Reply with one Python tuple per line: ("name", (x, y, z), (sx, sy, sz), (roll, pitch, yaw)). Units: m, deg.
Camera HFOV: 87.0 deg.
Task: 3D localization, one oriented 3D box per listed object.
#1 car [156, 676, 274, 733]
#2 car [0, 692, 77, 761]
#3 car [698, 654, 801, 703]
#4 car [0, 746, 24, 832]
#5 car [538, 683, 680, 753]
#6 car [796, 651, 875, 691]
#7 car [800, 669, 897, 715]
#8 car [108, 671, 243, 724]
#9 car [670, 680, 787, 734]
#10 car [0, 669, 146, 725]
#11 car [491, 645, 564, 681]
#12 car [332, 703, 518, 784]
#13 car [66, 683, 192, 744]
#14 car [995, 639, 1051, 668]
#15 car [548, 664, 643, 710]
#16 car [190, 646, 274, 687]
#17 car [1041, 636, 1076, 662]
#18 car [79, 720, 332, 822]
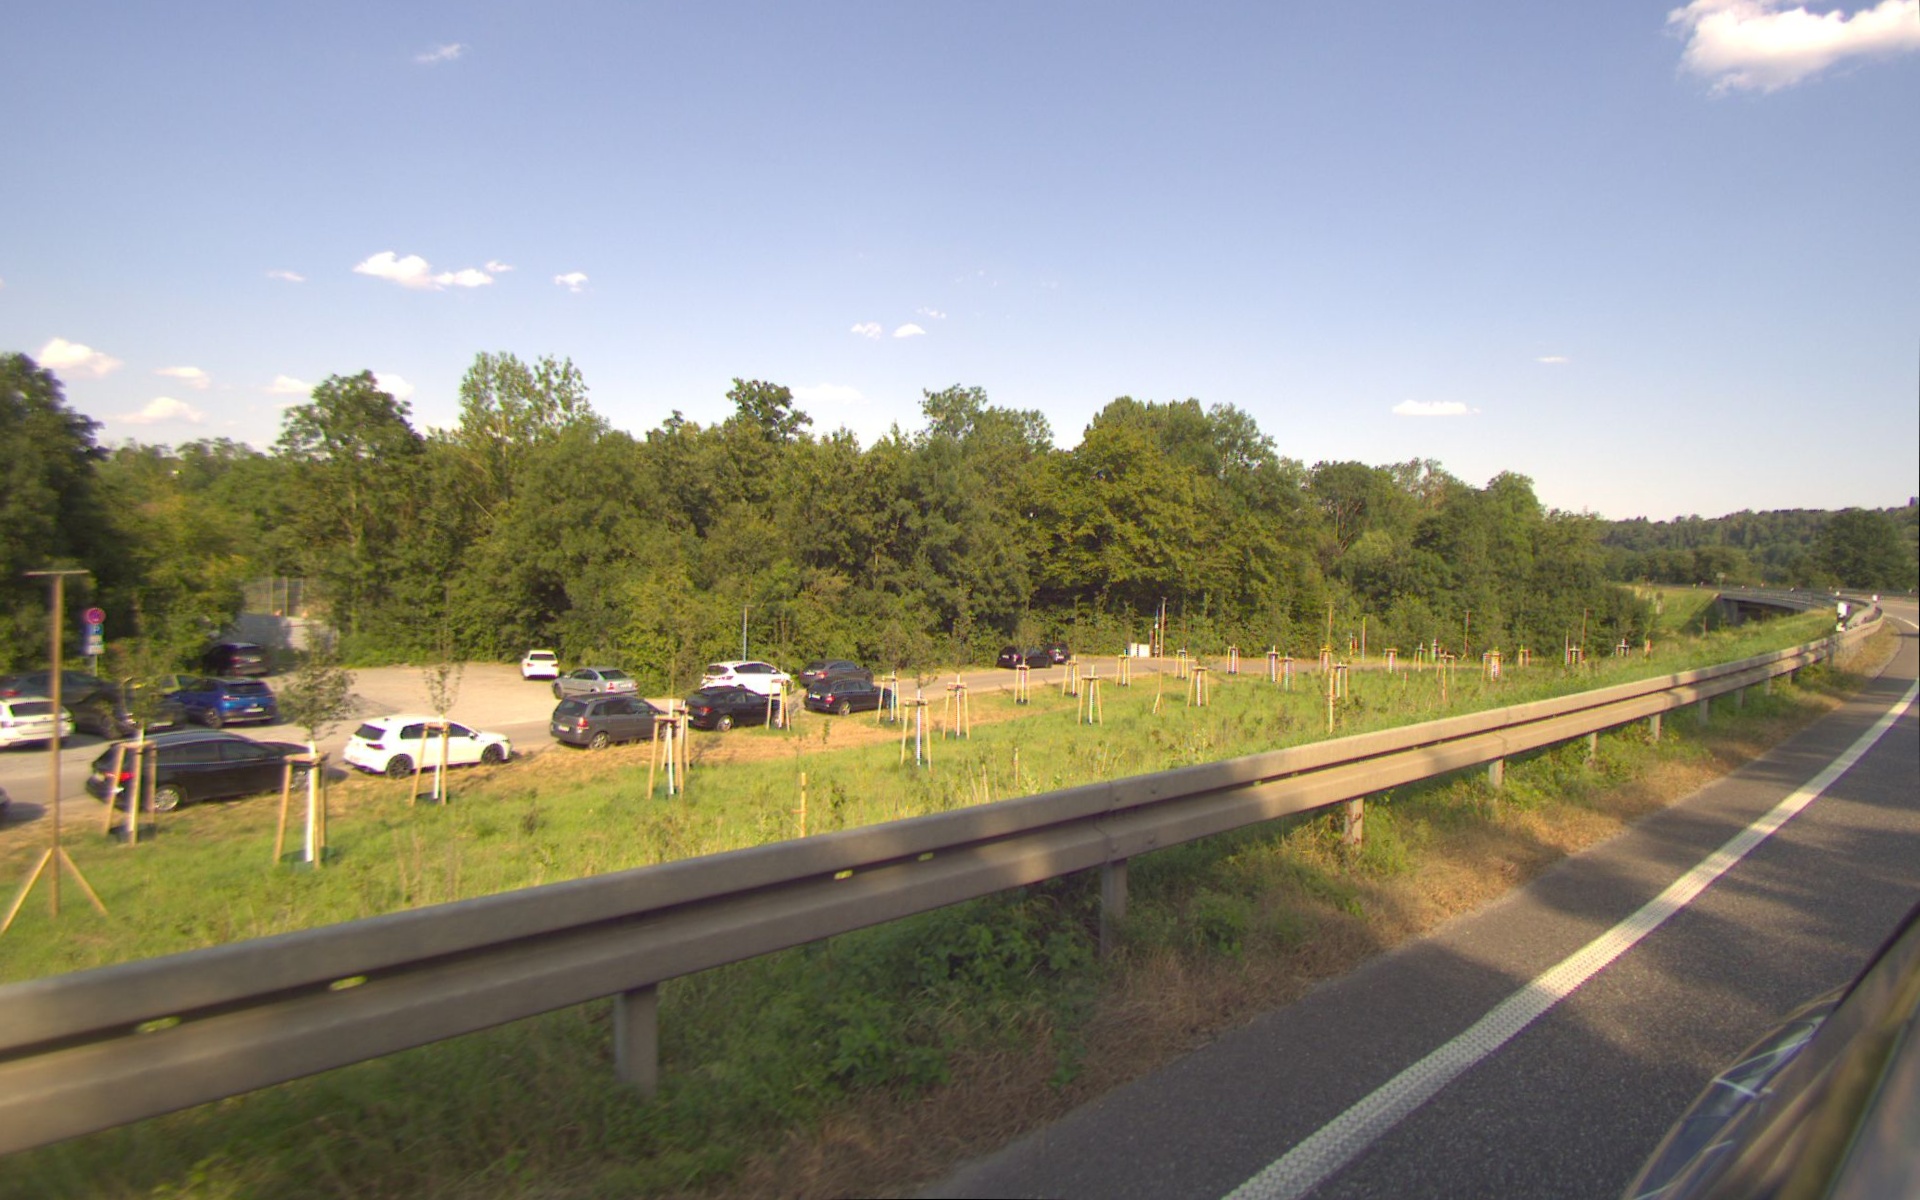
("car", (-25.136, 3.486, 34.123), (4.209, 1.474, 1.601), (1, 0, 29))
("car", (-27.288, 3.537, 28.757), (4.369, 1.474, 1.720), (0, 0, 25))
("car", (-9.303, 3.435, 45.136), (1.649, 1.687, 4.650), (1, 2, 35))
("car", (-20.587, 3.793, 18.818), (1.809, 1.501, 4.348), (3, 1, 30))
("car", (-11.364, 3.776, 33.027), (1.809, 1.679, 4.211), (3, 1, 30))
("car", (-6.067, 3.457, 49.773), (1.647, 1.515, 4.176), (1, 2, 32))
("car", (-4.653, 3.827, 42.667), (1.651, 1.515, 4.164), (1, 0, 38))
("car", (-28.484, 3.496, 36.854), (1.482, 1.474, 3.647), (2, 1, 23))
("car", (-8.453, 3.879, 37.292), (1.809, 1.419, 4.211), (3, 1, 30))
("car", (-31.160, 3.303, 35.190), (1.599, 1.474, 4.214), (2, 1, 23))
("car", (-21.787, 3.129, 50.901), (4.228, 1.474, 1.688), (1, 0, 41))
("car", (-14.535, 3.841, 27.731), (1.809, 1.501, 4.211), (3, 1, 30))
("car", (-26.018, 3.500, 31.670), (4.208, 1.474, 1.601), (1, 0, 29))
("car", (4.005, 3.384, 64.072), (1.653, 1.515, 3.773), (1, 2, 41))
("car", (-15.231, 3.572, 42.237), (4.219, 1.474, 1.597), (2, 1, 35))
("car", (-34.981, 3.160, 48.591), (4.210, 1.474, 1.601), (4, 2, 29))
("car", (6.736, 3.322, 69.458), (1.626, 1.515, 3.690), (0, 2, -7))
("car", (-17.296, 3.839, 23.438), (1.809, 1.501, 4.348), (3, 1, 30))
